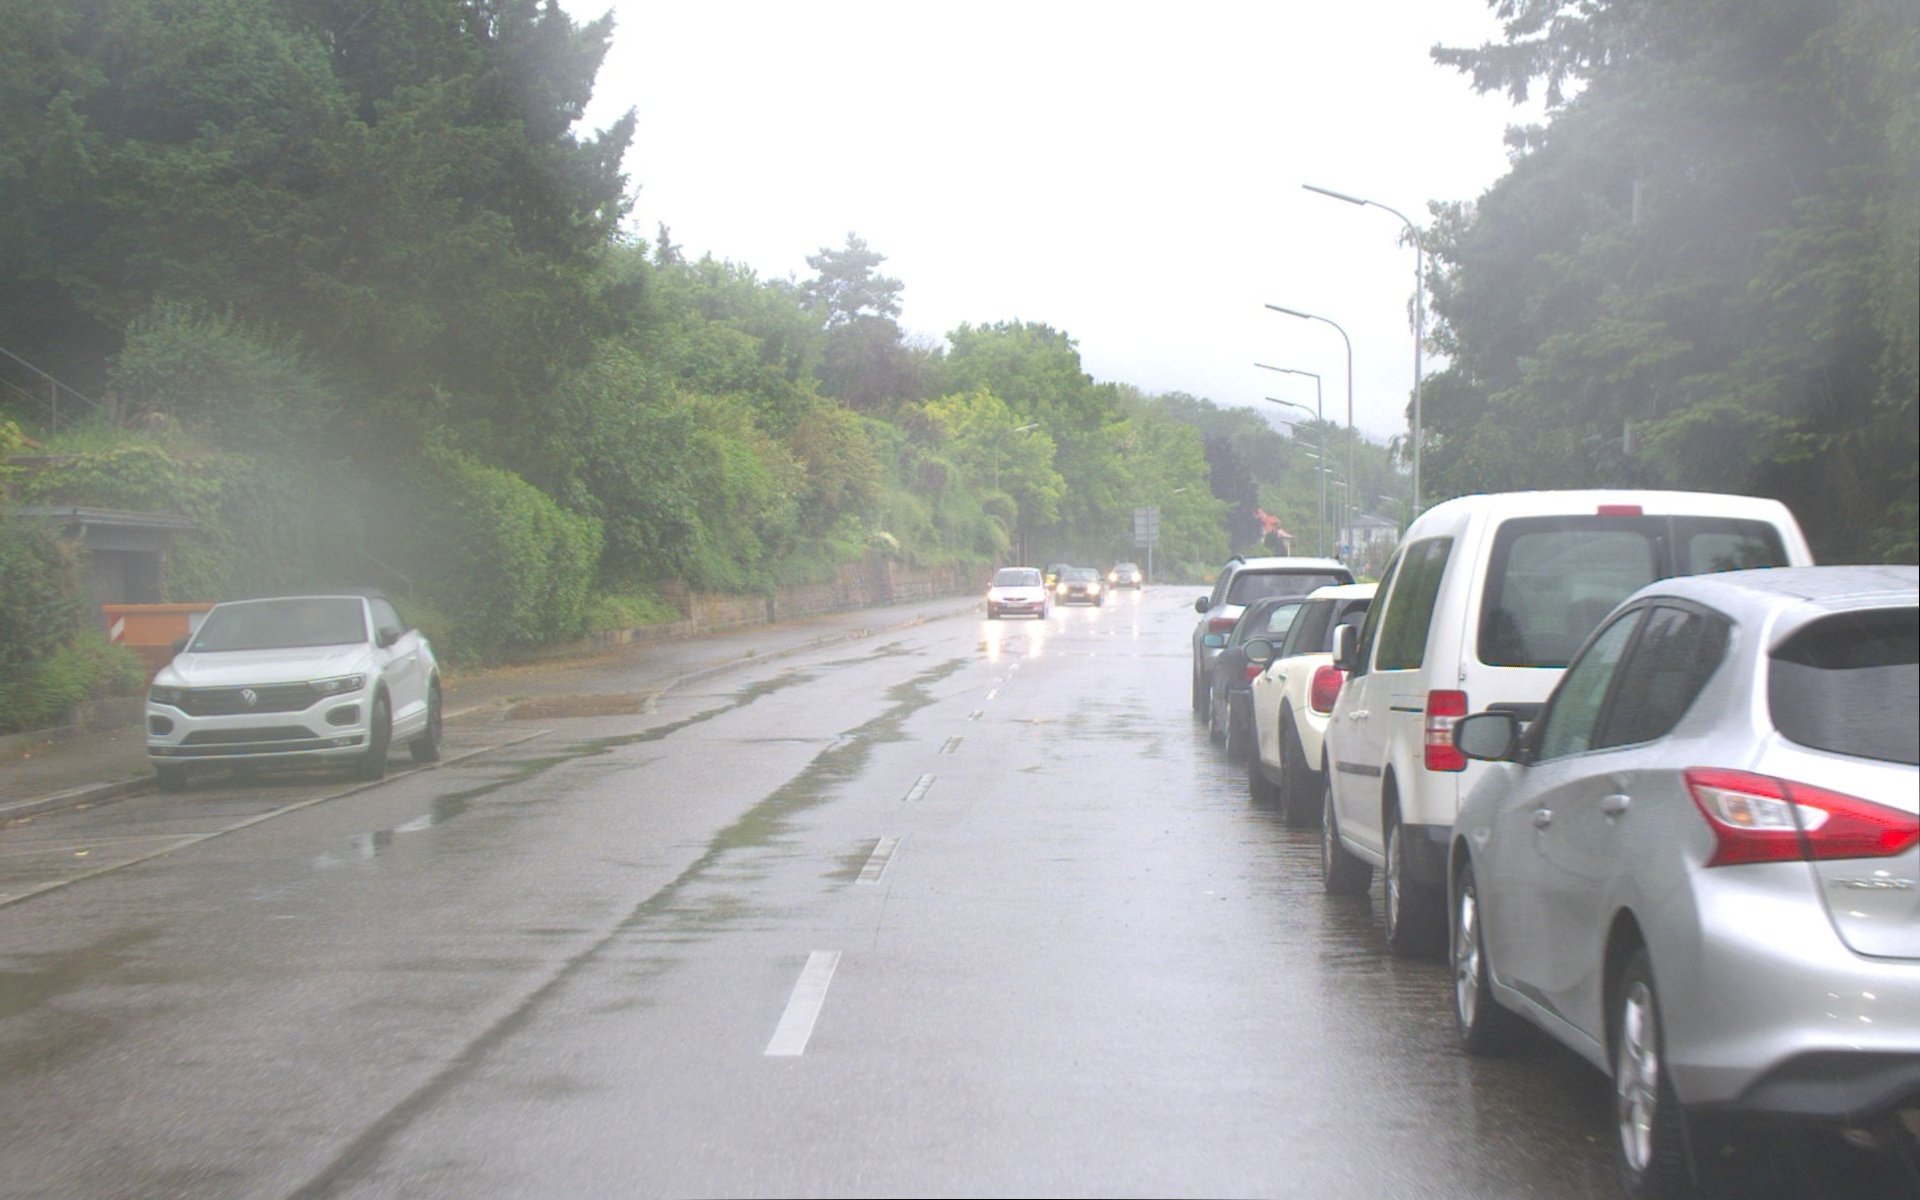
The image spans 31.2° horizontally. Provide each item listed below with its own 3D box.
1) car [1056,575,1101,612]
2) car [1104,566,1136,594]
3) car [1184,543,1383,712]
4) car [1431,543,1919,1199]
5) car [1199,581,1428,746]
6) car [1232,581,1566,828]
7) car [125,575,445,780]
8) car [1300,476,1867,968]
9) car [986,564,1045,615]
[{"bbox_3d":[4.470,-0.245,129.252,1.654,1.347,3.987,0,0,2],"label":"car"},{"bbox_3d":[8.869,-1.084,190.356,1.760,1.491,4.127,0,0,3],"label":"car"},{"bbox_3d":[3.310,0.277,35.870,1.815,1.640,4.395,0,0,2],"label":"car"},{"bbox_3d":[2.410,0.624,9.411,1.789,1.455,4.308,0,0,2],"label":"car"},{"bbox_3d":[2.907,0.503,29.004,1.631,1.277,4.447,0,0,2],"label":"car"},{"bbox_3d":[2.671,0.604,21.737,1.709,1.398,4.203,0,0,2],"label":"car"},{"bbox_3d":[-5.352,0.588,27.753,1.756,1.493,4.220,-1,0,0],"label":"car"},{"bbox_3d":[2.497,0.455,14.771,1.784,1.784,4.360,0,0,2],"label":"car"},{"bbox_3d":[1.607,-0.294,101.075,1.662,1.456,3.662,0,0,0],"label":"car"}]
